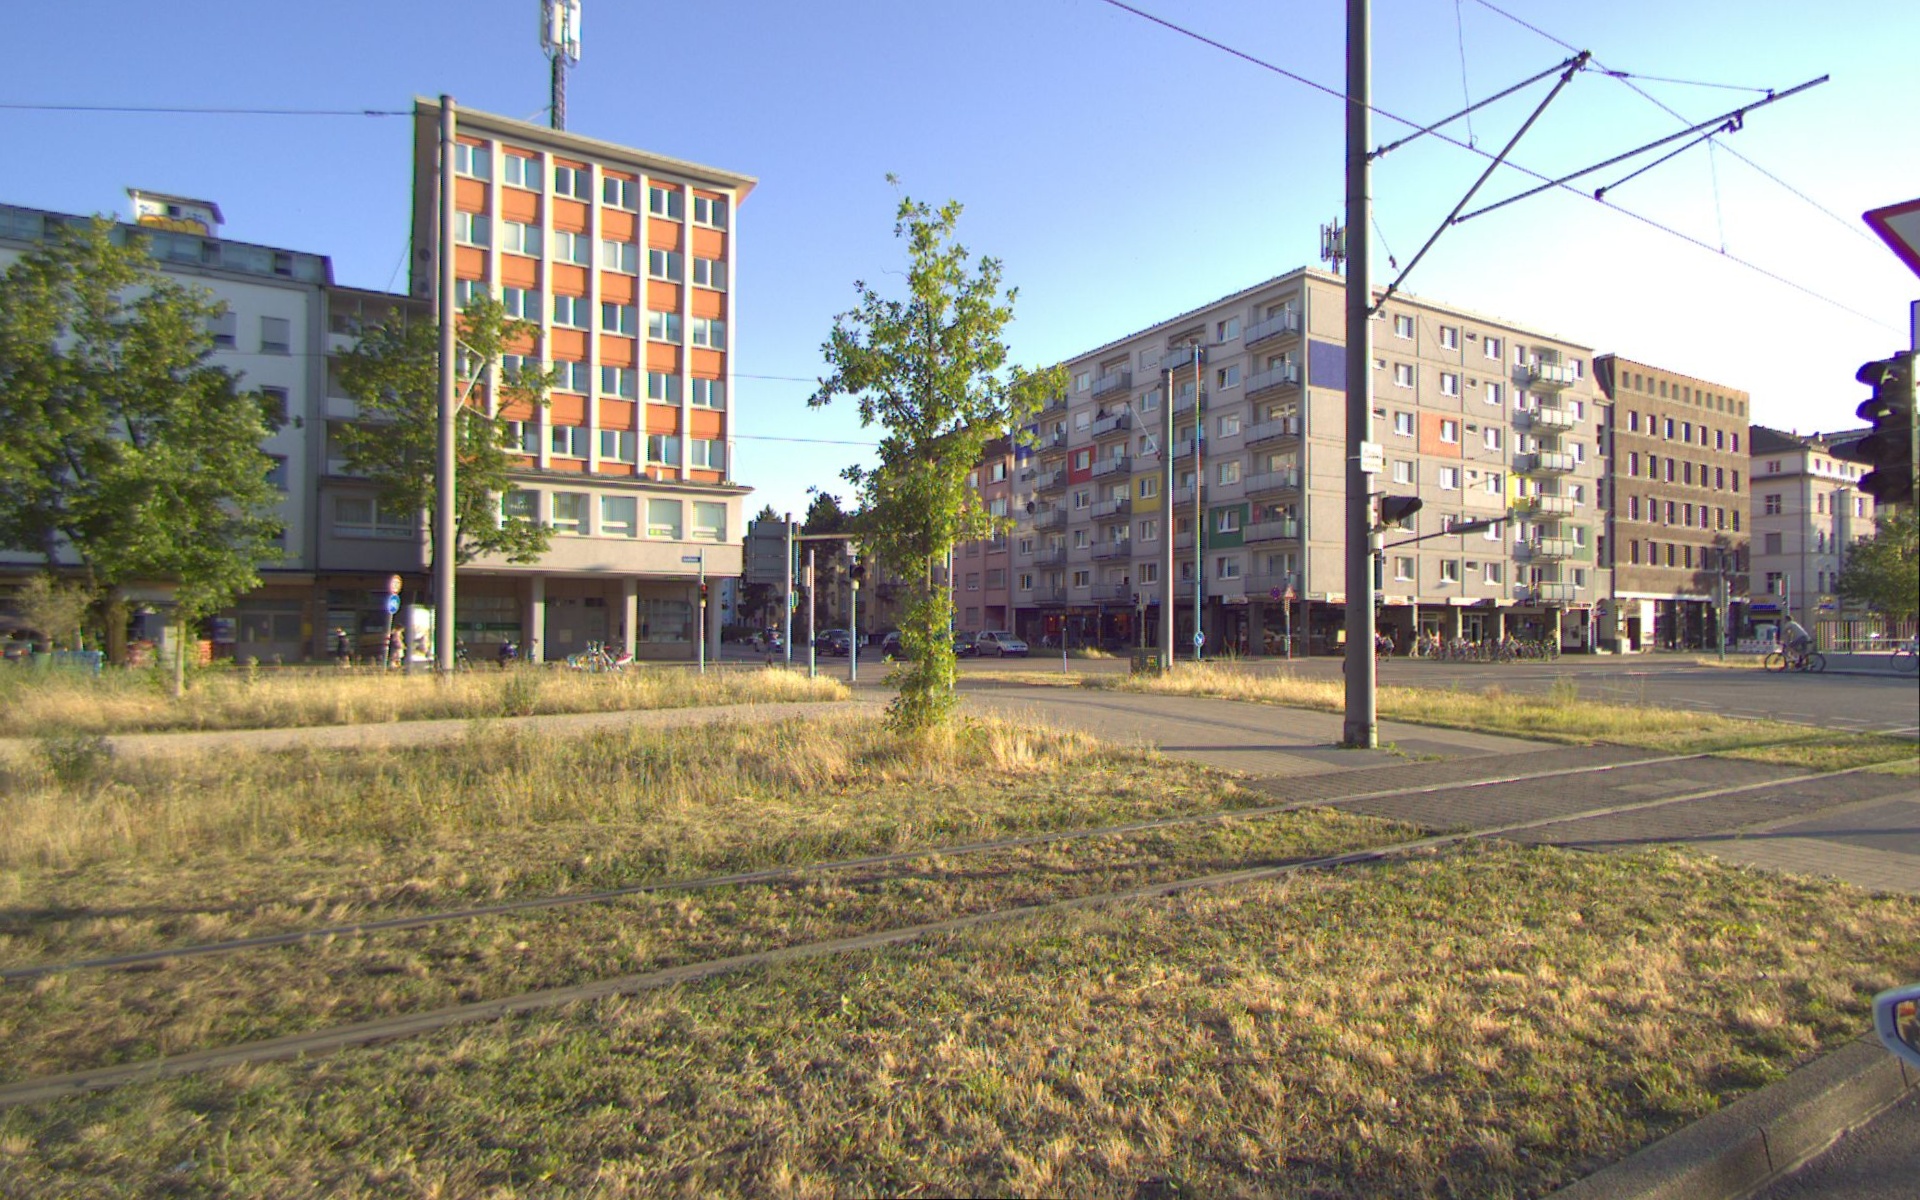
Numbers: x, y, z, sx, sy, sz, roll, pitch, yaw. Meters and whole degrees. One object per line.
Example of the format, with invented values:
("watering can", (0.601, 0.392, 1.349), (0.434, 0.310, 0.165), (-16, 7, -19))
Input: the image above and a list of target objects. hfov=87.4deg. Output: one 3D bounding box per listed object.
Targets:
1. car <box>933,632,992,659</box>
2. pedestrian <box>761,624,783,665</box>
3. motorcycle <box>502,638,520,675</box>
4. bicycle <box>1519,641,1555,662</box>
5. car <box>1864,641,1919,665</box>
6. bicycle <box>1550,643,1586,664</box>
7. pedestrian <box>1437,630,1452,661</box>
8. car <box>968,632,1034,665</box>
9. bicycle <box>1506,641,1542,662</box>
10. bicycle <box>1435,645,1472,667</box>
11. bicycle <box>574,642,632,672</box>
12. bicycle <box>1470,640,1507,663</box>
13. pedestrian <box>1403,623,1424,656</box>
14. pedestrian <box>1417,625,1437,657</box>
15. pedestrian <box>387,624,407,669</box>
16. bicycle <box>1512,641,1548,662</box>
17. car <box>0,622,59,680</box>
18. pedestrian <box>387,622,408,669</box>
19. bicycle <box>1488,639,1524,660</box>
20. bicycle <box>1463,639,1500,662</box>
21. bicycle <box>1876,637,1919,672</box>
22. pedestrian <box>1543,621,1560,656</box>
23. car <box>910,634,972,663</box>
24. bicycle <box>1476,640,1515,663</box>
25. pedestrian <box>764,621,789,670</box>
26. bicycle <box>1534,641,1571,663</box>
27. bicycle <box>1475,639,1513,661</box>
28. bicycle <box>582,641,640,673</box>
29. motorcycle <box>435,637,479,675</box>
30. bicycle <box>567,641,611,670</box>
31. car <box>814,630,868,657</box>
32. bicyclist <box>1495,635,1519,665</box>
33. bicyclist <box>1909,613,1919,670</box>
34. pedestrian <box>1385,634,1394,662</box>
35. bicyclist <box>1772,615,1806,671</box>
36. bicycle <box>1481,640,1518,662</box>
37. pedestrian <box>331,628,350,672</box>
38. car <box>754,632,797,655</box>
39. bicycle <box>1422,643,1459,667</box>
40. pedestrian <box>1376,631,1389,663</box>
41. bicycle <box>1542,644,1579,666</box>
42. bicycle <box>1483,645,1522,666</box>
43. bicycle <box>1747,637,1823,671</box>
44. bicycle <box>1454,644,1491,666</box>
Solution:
("car", (0.131, 2.674, 59.614), (1.974, 1.505, 3.974), (1, -2, -26))
("pedestrian", (-8.633, 2.034, 46.092), (0.879, 1.855, 0.885), (1, -1, -20))
("motorcycle", (-17.058, 2.128, 38.145), (0.538, 1.335, 1.823), (1, -1, -27))
("bicycle", (32.601, 2.903, 56.794), (0.626, 1.139, 1.720), (2, -2, -28))
("car", (64.931, 3.682, 69.884), (3.947, 1.639, 1.684), (1, -3, -26))
("bicycle", (35.208, 3.113, 58.151), (0.688, 1.159, 1.684), (1, -1, -27))
("pedestrian", (26.789, 2.512, 55.574), (0.542, 1.706, 0.574), (1, -2, -40))
("car", (2.224, 2.652, 55.557), (1.974, 1.506, 3.973), (2, 1, -26))
("bicycle", (31.537, 2.886, 56.225), (0.545, 1.132, 1.747), (1, -2, -29))
("bicycle", (26.724, 3.009, 54.393), (0.601, 1.157, 1.768), (1, -2, -29))
("bicycle", (-13.295, 2.120, 37.462), (1.972, 1.089, 0.465), (1, -1, -31))
("bicycle", (28.706, 2.798, 54.577), (0.561, 1.197, 1.761), (1, -2, -29))
("pedestrian", (26.433, 2.302, 58.592), (0.715, 1.837, 0.819), (1, 1, -40))
("pedestrian", (26.838, 2.349, 57.735), (0.728, 1.866, 0.780), (1, -2, -38))
("pedestrian", (-22.445, 1.830, 40.040), (0.690, 1.774, 0.646), (1, -1, -30))
("bicycle", (32.042, 2.895, 56.509), (0.561, 1.134, 1.753), (1, -2, -29))
("car", (-30.098, 1.505, 30.231), (3.927, 1.706, 1.997), (1, -1, -9))
("pedestrian", (-22.101, 1.769, 39.488), (0.696, 1.816, 0.590), (1, -1, -30))
("bicycle", (30.701, 2.773, 56.519), (0.598, 1.151, 1.763), (1, -2, -29))
("bicycle", (28.184, 2.737, 54.289), (0.534, 1.183, 1.758), (1, -1, -29))
("bicycle", (31.069, 1.770, 32.430), (0.534, 1.098, 2.147), (2, -1, -38))
("pedestrian", (37.853, 2.445, 64.296), (0.783, 2.207, 0.599), (1, -1, -30))
("car", (-1.082, 2.650, 55.698), (1.974, 1.505, 3.974), (1, -1, -26))
("bicycle", (29.255, 2.789, 54.897), (0.644, 1.206, 1.780), (1, -2, -30))
("pedestrian", (-7.494, 1.858, 41.017), (0.708, 1.972, 0.720), (-1, -2, 43))
("bicycle", (33.879, 2.944, 57.432), (0.739, 1.194, 1.684), (1, -1, -28))
("bicycle", (29.642, 2.776, 55.825), (0.632, 1.176, 1.823), (1, -2, -29))
("bicycle", (-12.515, 2.032, 36.033), (1.885, 1.089, 0.465), (1, -1, -31))
("motorcycle", (-17.928, 1.989, 35.801), (1.373, 1.335, 0.378), (1, -1, -28))
("bicycle", (-14.251, 2.106, 38.596), (1.543, 1.089, 0.392), (1, -1, -31))
("car", (-7.313, 2.644, 61.484), (1.975, 1.551, 3.971), (1, -1, -28))
("bicyclist", (26.206, 2.391, 48.113), (0.841, 1.445, 0.501), (0, -1, -3))
("bicyclist", (31.176, 1.333, 32.306), (0.533, 1.842, 0.869), (1, -1, -38))
("pedestrian", (22.064, 2.451, 51.611), (0.376, 1.401, 0.394), (0, -1, 32))
("bicyclist", (27.707, 1.417, 33.566), (0.642, 1.842, 0.785), (1, -2, -44))
("bicycle", (30.170, 2.824, 56.168), (0.598, 1.174, 1.768), (1, -2, -29))
("pedestrian", (-25.154, 2.027, 40.785), (0.623, 1.792, 0.593), (1, -1, -30))
("car", (-13.254, 3.083, 72.072), (1.975, 1.551, 3.971), (1, -2, -28))
("bicycle", (25.805, 2.950, 53.943), (0.631, 1.224, 1.786), (1, -2, -30))
("pedestrian", (21.545, 2.395, 51.256), (0.563, 1.641, 0.602), (0, -1, 29))
("bicycle", (34.544, 3.141, 57.806), (0.739, 1.185, 1.684), (1, -1, -28))
("bicycle", (25.985, 2.660, 48.103), (1.636, 0.957, 0.509), (0, -1, -3))
("bicycle", (27.634, 1.801, 33.665), (0.628, 1.089, 1.883), (1, -2, -43))
("bicycle", (27.623, 2.939, 54.122), (0.592, 1.154, 1.749), (1, -2, -29))
